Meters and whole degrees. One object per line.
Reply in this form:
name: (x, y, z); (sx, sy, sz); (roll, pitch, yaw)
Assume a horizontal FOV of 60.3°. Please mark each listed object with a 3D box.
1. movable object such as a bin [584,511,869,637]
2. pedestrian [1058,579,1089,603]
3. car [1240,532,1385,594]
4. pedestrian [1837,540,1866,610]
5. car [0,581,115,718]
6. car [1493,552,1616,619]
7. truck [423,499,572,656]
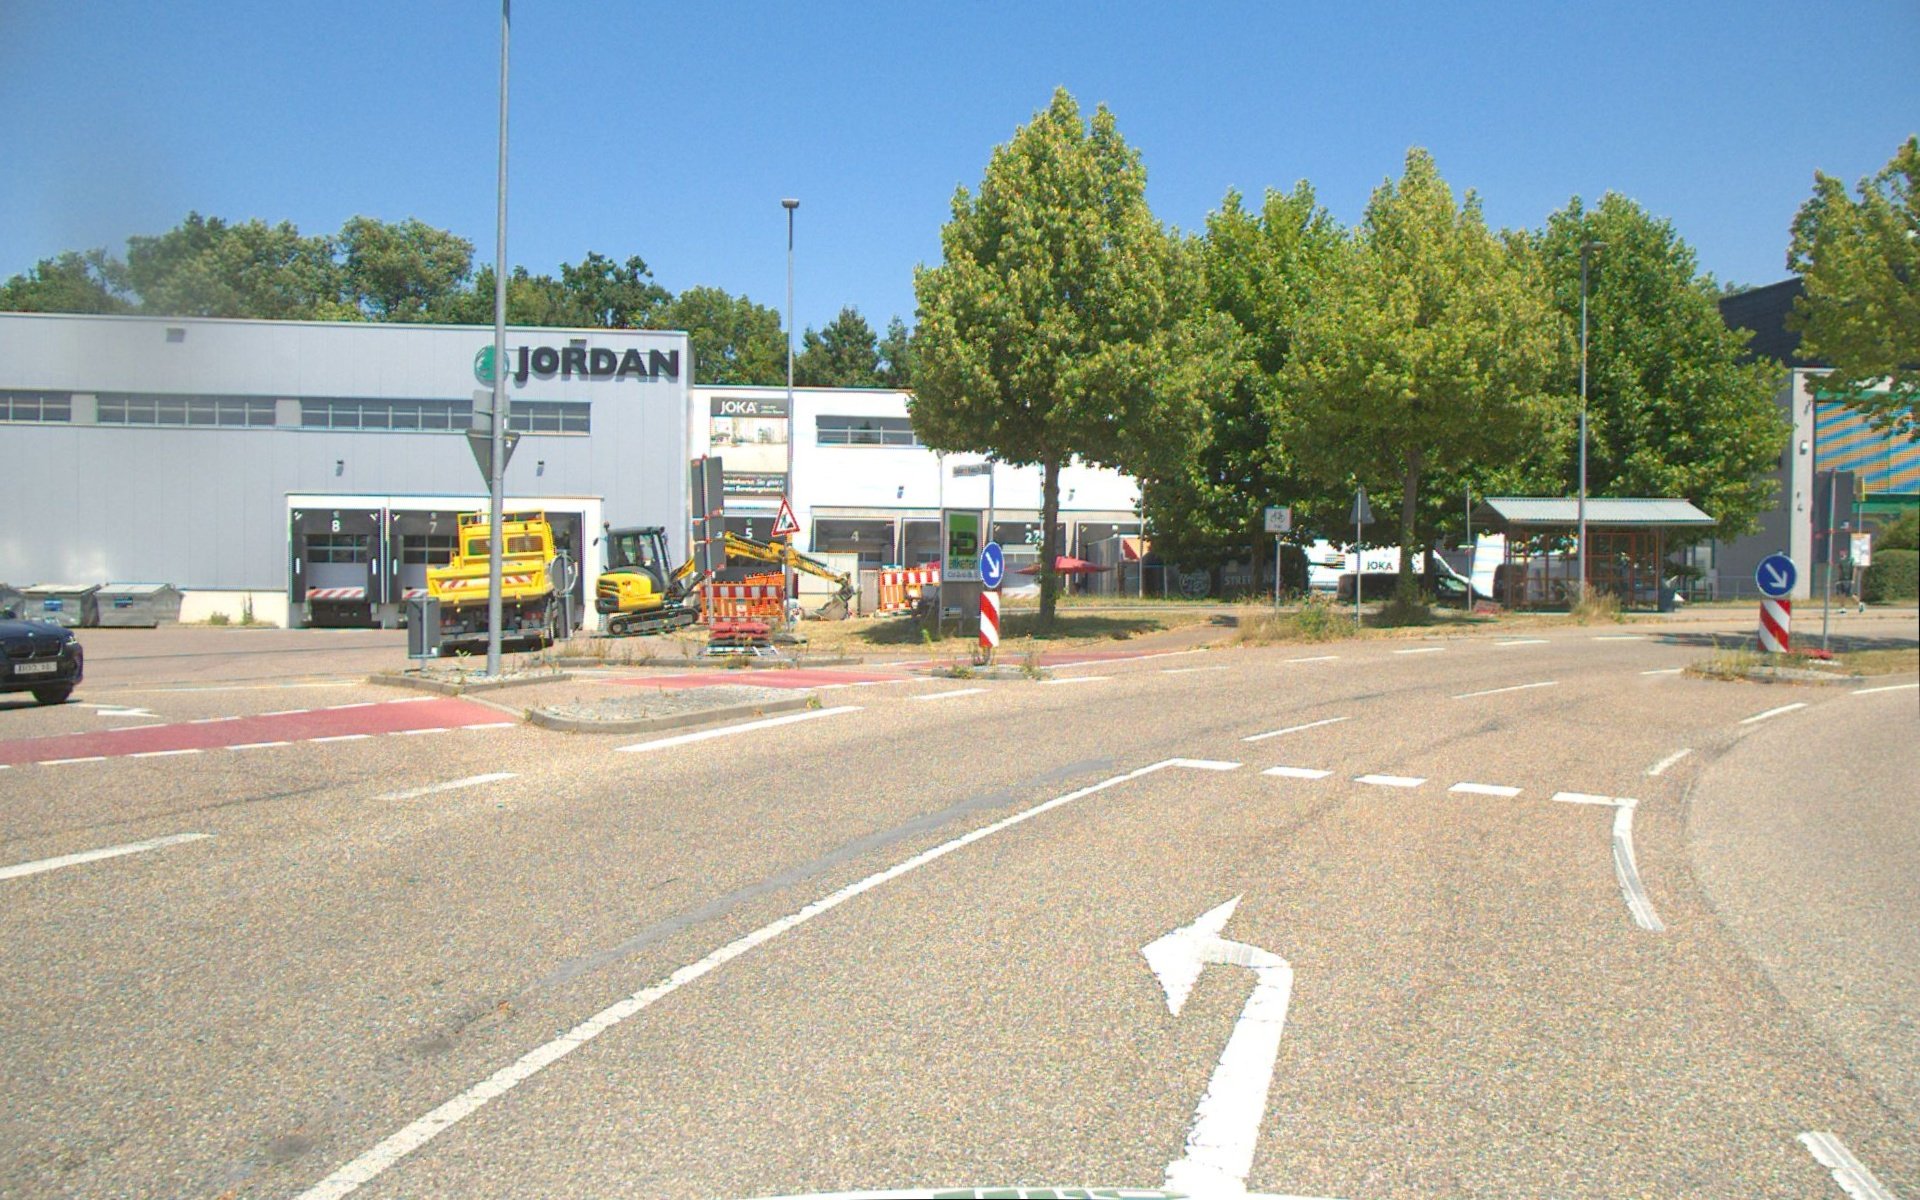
movable object such as a bin: (-5.449, -0.612, 39.292); (6.424, 2.626, 1.999); (-3, 0, -2)
pedestrian: (3.469, -0.269, 50.474); (0.845, 0.707, 0.408); (-1, 1, 17)
car: (10.622, -1.106, 49.998); (3.909, 1.758, 1.839); (-1, 1, -5)
pedestrian: (22.204, -0.615, 41.197); (0.518, 1.699, 0.579); (1, -1, 21)
car: (-13.524, 0.627, 21.559); (4.488, 1.663, 1.871); (0, -1, 19)
car: (19.408, -0.448, 54.149); (1.519, 2.049, 4.245); (2, -1, -17)
truck: (-10.484, -0.641, 38.047); (2.541, 3.190, 6.410); (-3, 3, -10)
